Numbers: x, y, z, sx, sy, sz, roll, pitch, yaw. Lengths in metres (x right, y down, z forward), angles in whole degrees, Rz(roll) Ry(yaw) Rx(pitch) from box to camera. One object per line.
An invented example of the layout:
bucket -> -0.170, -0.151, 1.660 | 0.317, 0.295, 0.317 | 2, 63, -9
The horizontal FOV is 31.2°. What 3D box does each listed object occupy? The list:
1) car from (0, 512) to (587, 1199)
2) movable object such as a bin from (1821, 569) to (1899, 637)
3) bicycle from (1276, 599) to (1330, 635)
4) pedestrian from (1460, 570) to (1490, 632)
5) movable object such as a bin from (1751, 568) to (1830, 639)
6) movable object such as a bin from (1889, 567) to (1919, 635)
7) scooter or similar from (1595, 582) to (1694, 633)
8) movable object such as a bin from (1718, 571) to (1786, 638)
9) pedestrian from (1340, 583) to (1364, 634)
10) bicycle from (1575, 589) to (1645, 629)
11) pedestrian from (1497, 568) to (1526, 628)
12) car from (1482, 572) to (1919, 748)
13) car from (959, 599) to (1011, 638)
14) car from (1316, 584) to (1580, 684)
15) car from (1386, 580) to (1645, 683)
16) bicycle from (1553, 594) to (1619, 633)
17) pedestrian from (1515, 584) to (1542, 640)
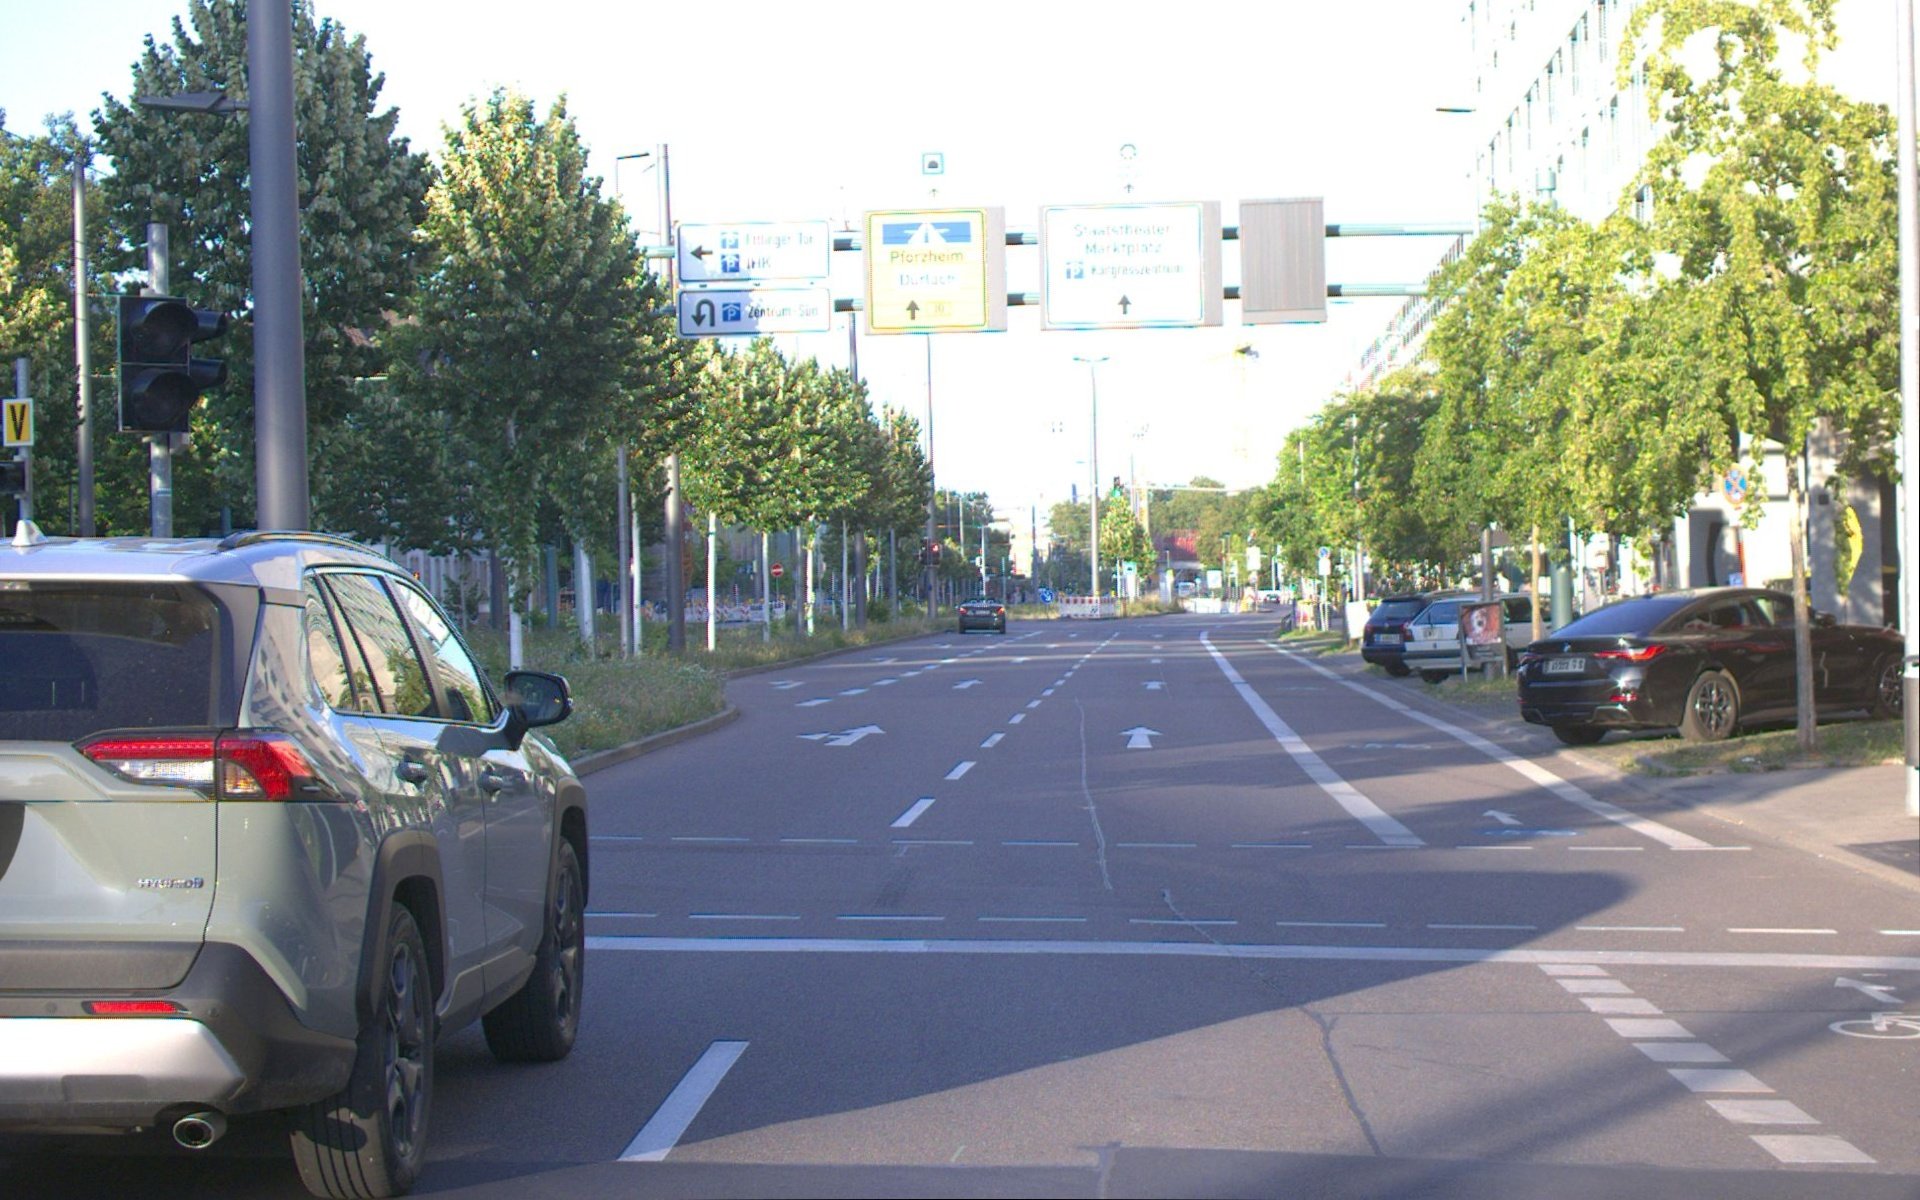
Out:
car -> -2.243, 0.630, 9.610 | 1.834, 1.667, 4.282 | 0, 0, 1
movable object such as a bin -> 17.695, 0.052, 67.629 | 1.181, 1.294, 1.304 | -2, 0, 2
bicycle -> 12.310, 0.623, 123.365 | 1.793, 1.189, 0.568 | -3, 0, -1
pedestrian -> 15.849, 0.027, 105.770 | 0.744, 1.843, 0.940 | -4, -1, 12
movable object such as a bin -> 16.320, 0.064, 67.599 | 1.181, 1.318, 1.267 | -4, 0, 2
movable object such as a bin -> 19.025, 0.008, 67.666 | 1.181, 1.309, 1.124 | -2, 0, 2
scooter or similar -> 17.516, 0.192, 87.961 | 2.372, 1.179, 0.620 | -3, 0, 3
movable object such as a bin -> 16.587, 0.090, 71.998 | 1.105, 1.325, 1.283 | -3, 0, 2
pedestrian -> 13.123, 0.281, 115.176 | 0.653, 1.696, 0.689 | -3, 0, 3
bicycle -> 17.276, 0.234, 91.348 | 1.699, 0.983, 0.551 | -3, 0, 0
pedestrian -> 16.998, -0.065, 105.971 | 0.756, 1.818, 0.940 | -3, 0, 12
car -> 7.429, 0.559, 33.802 | 4.593, 1.448, 1.813 | -3, 1, -38
car -> 0.899, 0.652, 123.760 | 1.674, 1.347, 4.000 | 0, 0, 3
car -> 8.909, 0.611, 62.582 | 4.655, 1.503, 1.939 | -3, 0, -36
car -> 9.027, 0.510, 55.795 | 3.979, 1.412, 1.751 | -3, 0, -35
bicycle -> 17.497, 0.376, 96.134 | 1.699, 0.983, 0.551 | -3, 0, 0
pedestrian -> 16.521, 0.349, 99.903 | 0.576, 1.613, 0.643 | -3, 0, 0
